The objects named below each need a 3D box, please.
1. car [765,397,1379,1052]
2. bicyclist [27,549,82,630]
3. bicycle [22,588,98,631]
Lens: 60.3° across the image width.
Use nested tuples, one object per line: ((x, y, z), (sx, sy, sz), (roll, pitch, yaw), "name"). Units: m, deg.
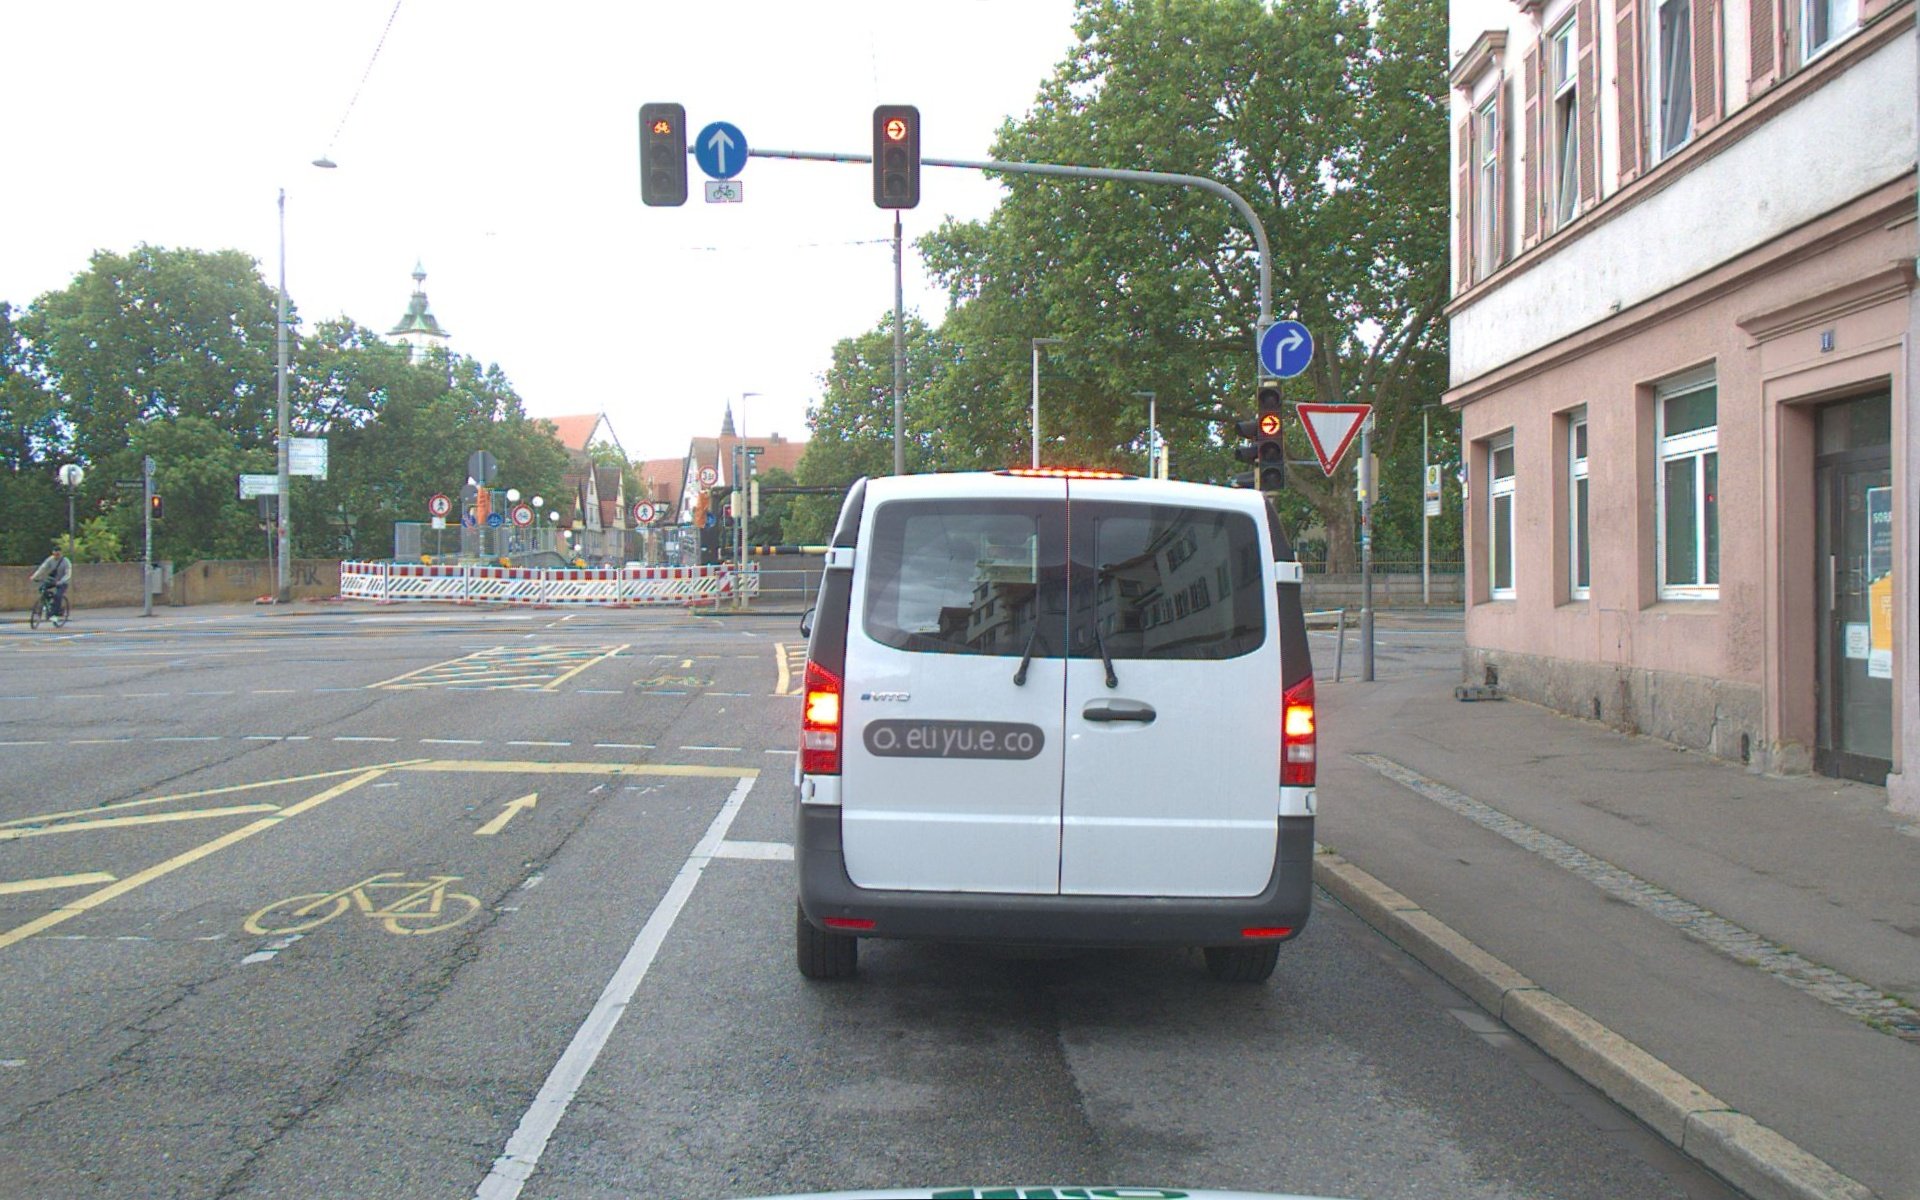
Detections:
((0.321, 0.335, 7.582), (1.911, 2.048, 4.698), (1, 2, -1), "car")
((-19.667, -0.229, 35.930), (0.708, 1.730, 0.811), (0, 0, 4), "bicyclist")
((-19.656, 0.192, 36.156), (0.530, 0.908, 1.881), (0, 1, 3), "bicycle")
